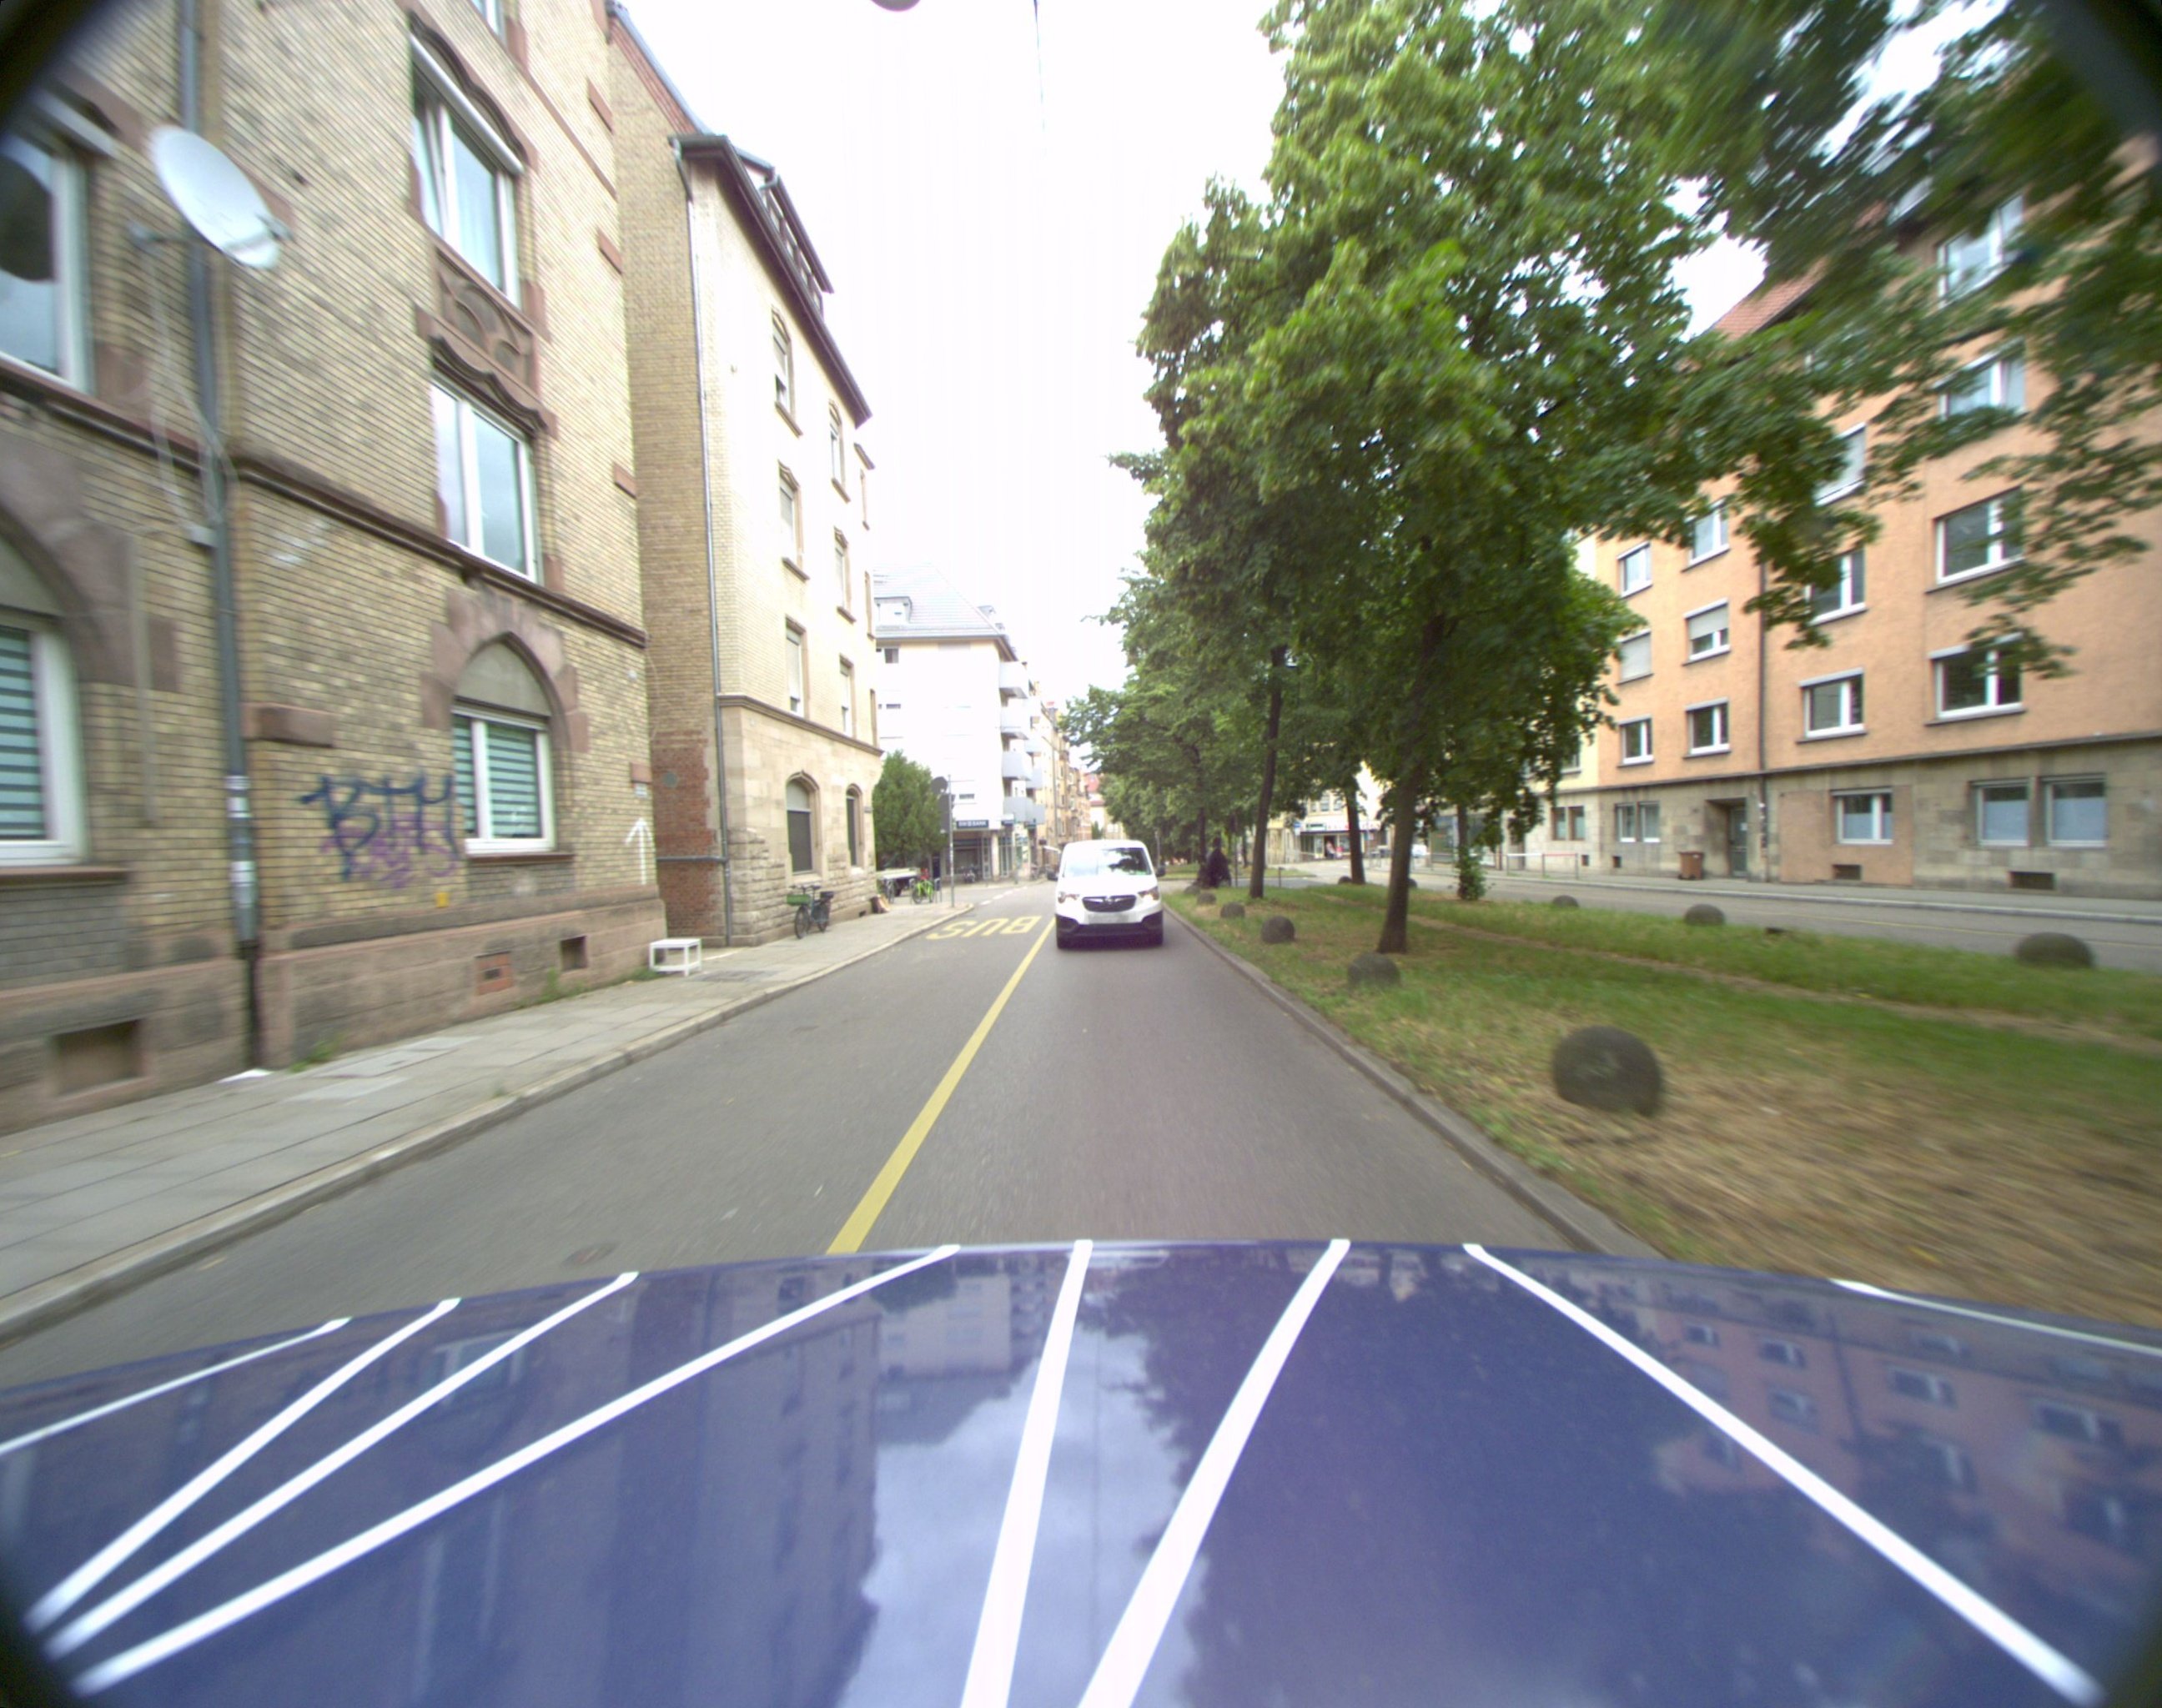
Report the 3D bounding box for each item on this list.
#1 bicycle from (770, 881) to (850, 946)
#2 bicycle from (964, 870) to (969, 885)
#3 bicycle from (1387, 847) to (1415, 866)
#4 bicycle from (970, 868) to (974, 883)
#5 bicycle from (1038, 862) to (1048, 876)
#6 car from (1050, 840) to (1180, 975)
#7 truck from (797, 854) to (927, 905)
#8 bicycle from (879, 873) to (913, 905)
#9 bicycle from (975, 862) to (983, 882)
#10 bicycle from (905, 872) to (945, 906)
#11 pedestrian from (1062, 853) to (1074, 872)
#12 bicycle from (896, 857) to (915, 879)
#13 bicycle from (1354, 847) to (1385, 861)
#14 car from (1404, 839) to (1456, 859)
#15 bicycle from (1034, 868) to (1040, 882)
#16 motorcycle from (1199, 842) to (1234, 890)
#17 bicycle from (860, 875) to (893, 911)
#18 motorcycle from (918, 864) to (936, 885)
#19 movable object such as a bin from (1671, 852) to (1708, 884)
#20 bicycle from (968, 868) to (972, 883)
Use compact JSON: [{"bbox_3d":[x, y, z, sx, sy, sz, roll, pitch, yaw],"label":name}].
[{"bbox_3d":[-5.730,1.222,16.241,0.683,1.143,2.483,-2,1,2],"label":"bicycle"},{"bbox_3d":[-7.097,1.443,47.262,0.184,0.902,1.236,-3,0,-5],"label":"bicycle"},{"bbox_3d":[21.774,0.180,51.677,0.684,1.142,2.057,-4,-1,-10],"label":"bicycle"},{"bbox_3d":[-6.602,1.306,46.134,0.120,0.902,1.284,-3,0,-5],"label":"bicycle"},{"bbox_3d":[-2.642,1.037,52.478,0.442,0.902,1.285,-3,0,6],"label":"bicycle"},{"bbox_3d":[0.588,0.733,12.909,1.745,1.831,4.343,-3,1,3],"label":"car"},{"bbox_3d":[-10.983,1.303,38.567,5.858,2.093,2.554,-4,-2,-5],"label":"truck"},{"bbox_3d":[-7.201,1.358,29.638,0.683,1.142,2.059,-4,-1,2],"label":"bicycle"},{"bbox_3d":[-6.345,1.114,47.351,0.400,1.197,1.284,-4,0,-5],"label":"bicycle"},{"bbox_3d":[-5.564,1.220,27.262,0.683,1.142,2.941,-2,-1,2],"label":"bicycle"},{"bbox_3d":[-1.394,0.906,80.098,1.083,2.002,1.204,-3,0,3],"label":"pedestrian"},{"bbox_3d":[-10.389,0.821,45.041,0.439,1.248,1.884,-3,0,5],"label":"bicycle"},{"bbox_3d":[24.139,0.002,63.561,2.345,1.094,0.775,-3,0,21],"label":"bicycle"},{"bbox_3d":[29.411,-0.432,64.014,3.811,1.533,1.980,-3,1,-26],"label":"car"},{"bbox_3d":[-2.863,1.362,49.214,0.154,0.902,1.285,-3,0,6],"label":"bicycle"},{"bbox_3d":[4.526,0.453,25.557,0.825,1.521,2.625,0,-3,3],"label":"motorcycle"},{"bbox_3d":[-8.012,1.512,29.847,0.459,1.269,2.386,-3,0,3],"label":"bicycle"},{"bbox_3d":[-9.110,1.183,45.006,0.591,1.190,1.931,0,0,3],"label":"motorcycle"},{"bbox_3d":[18.757,0.426,23.430,0.513,0.921,0.779,-3,0,2],"label":"movable object such as a bin"},{"bbox_3d":[-6.787,1.312,46.429,0.141,0.902,1.249,-2,1,-5],"label":"bicycle"}]
